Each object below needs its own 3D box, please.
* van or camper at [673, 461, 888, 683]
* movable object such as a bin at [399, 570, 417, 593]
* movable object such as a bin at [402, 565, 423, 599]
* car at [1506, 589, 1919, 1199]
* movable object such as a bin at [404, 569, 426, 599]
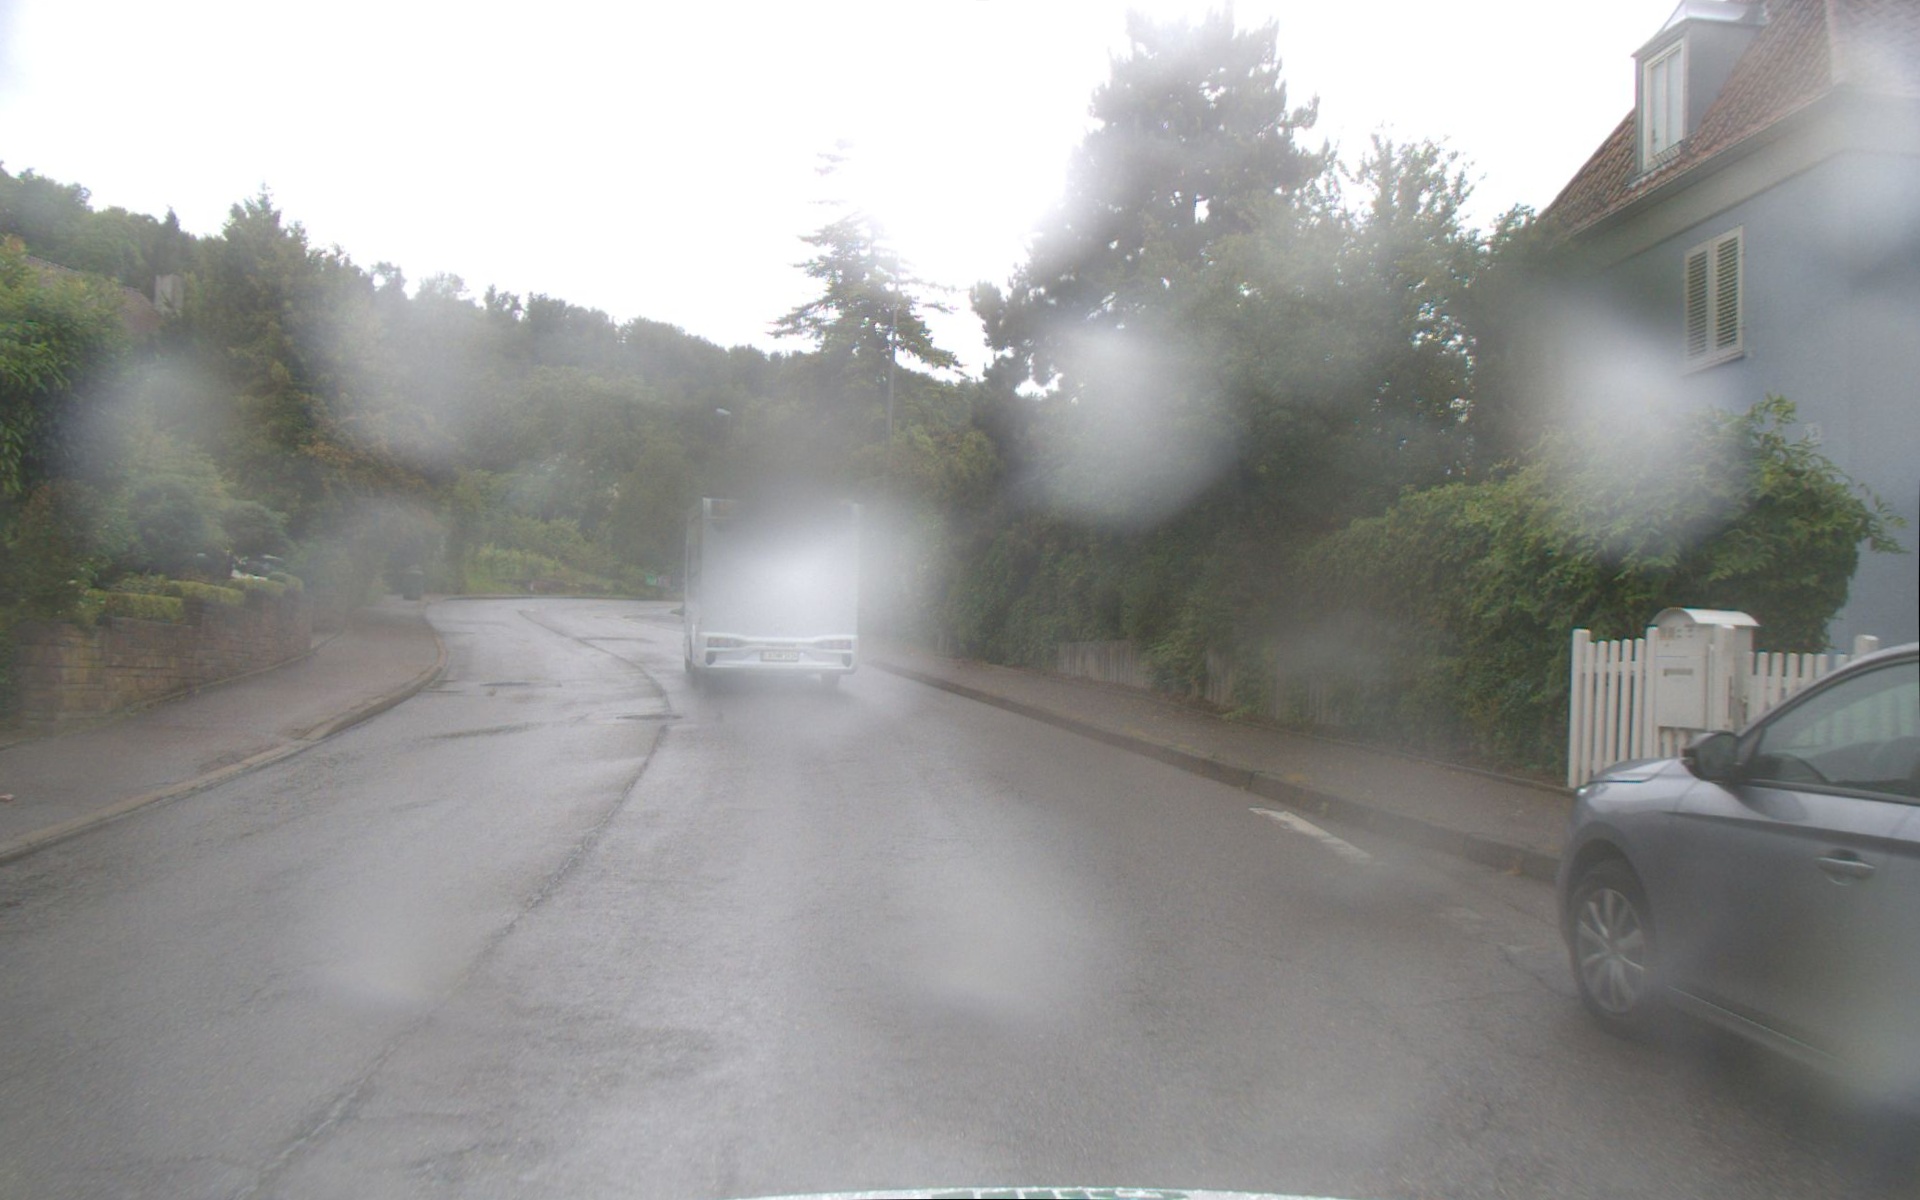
[{"bbox_3d":[-2.915,-0.323,25.313,2.570,2.903,6.012,2,-1,-12],"label":"van or camper"},{"bbox_3d":[-25.145,-0.839,75.391,0.743,1.040,0.739,2,0,-19],"label":"movable object such as a bin"},{"bbox_3d":[-21.353,-0.712,64.474,0.730,1.275,0.753,2,0,-21],"label":"movable object such as a bin"},{"bbox_3d":[3.159,0.746,4.548,1.652,1.482,4.053,1,1,-5],"label":"car"},{"bbox_3d":[-20.988,-0.607,63.684,0.730,1.113,0.753,2,0,-21],"label":"movable object such as a bin"}]
